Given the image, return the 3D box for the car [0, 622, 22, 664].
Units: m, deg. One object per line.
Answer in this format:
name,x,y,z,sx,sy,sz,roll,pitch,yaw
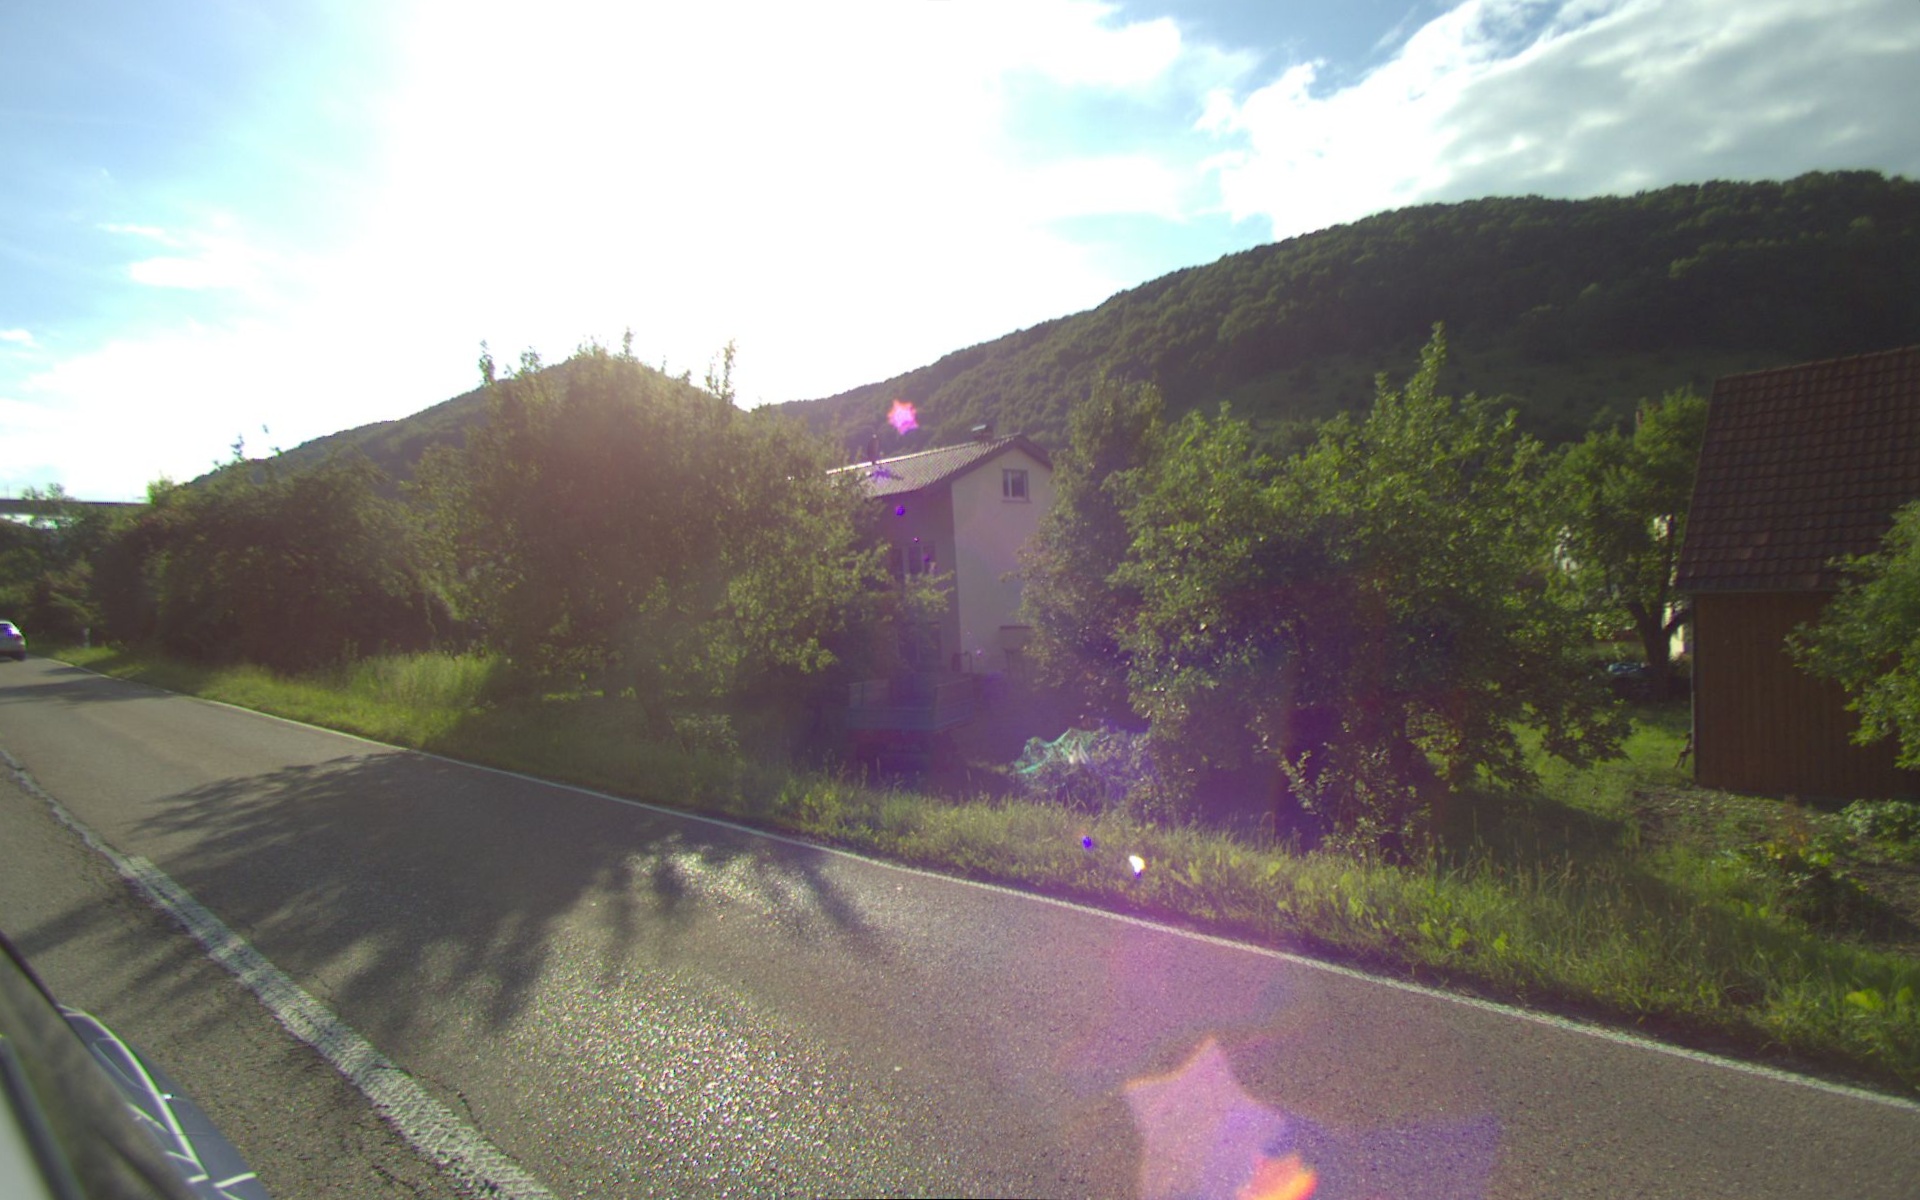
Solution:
car,-33.815,1.464,35.041,3.663,1.420,1.674,-1,-1,43
